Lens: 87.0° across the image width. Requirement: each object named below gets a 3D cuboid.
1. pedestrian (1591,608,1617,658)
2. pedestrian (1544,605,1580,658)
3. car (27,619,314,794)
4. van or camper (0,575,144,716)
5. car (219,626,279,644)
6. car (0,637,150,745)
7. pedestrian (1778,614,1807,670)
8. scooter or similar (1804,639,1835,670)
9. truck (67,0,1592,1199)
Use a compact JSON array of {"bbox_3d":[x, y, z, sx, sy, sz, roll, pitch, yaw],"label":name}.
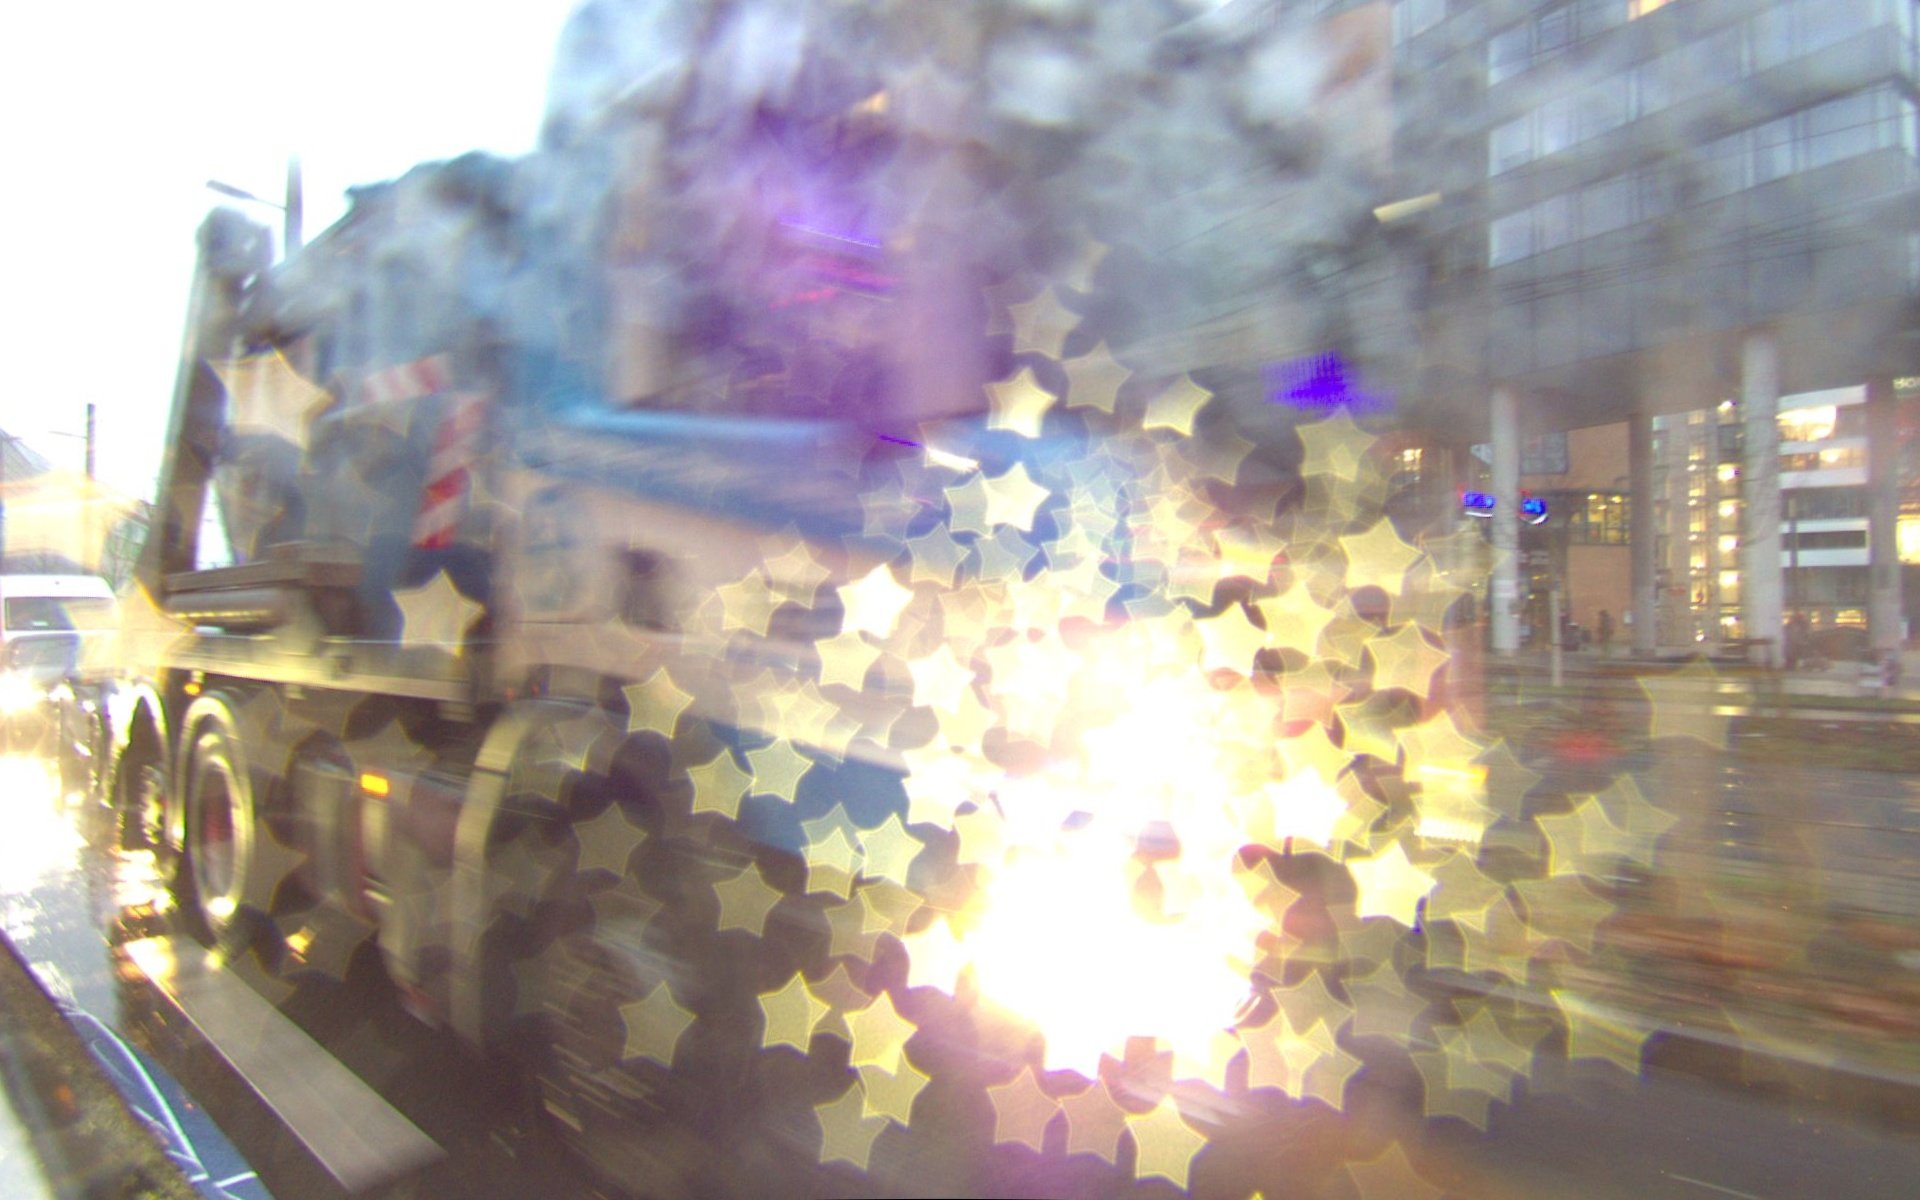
[{"bbox_3d":[22.968,1.173,36.076,0.703,1.766,0.564,-2,-2,38],"label":"pedestrian"},{"bbox_3d":[20.432,1.072,34.354,0.782,1.766,0.704,0,-2,-1],"label":"pedestrian"},{"bbox_3d":[-8.487,0.986,10.766,3.938,1.535,1.613,-1,-2,40],"label":"car"},{"bbox_3d":[-19.030,0.896,20.995,5.893,2.551,2.126,-2,-2,40],"label":"van or camper"},{"bbox_3d":[-57.016,2.804,81.150,3.859,1.431,1.786,-1,-1,12],"label":"car"},{"bbox_3d":[-13.374,1.233,14.856,4.056,1.355,1.736,-2,-2,43],"label":"car"},{"bbox_3d":[26.952,1.347,32.776,0.564,1.787,0.638,2,-3,-44],"label":"pedestrian"},{"bbox_3d":[27.408,1.716,32.272,0.545,0.968,0.667,2,-3,-43],"label":"scooter or similar"},{"bbox_3d":[-1.673,-0.364,4.778,7.523,3.661,2.809,-2,-2,41],"label":"truck"}]
